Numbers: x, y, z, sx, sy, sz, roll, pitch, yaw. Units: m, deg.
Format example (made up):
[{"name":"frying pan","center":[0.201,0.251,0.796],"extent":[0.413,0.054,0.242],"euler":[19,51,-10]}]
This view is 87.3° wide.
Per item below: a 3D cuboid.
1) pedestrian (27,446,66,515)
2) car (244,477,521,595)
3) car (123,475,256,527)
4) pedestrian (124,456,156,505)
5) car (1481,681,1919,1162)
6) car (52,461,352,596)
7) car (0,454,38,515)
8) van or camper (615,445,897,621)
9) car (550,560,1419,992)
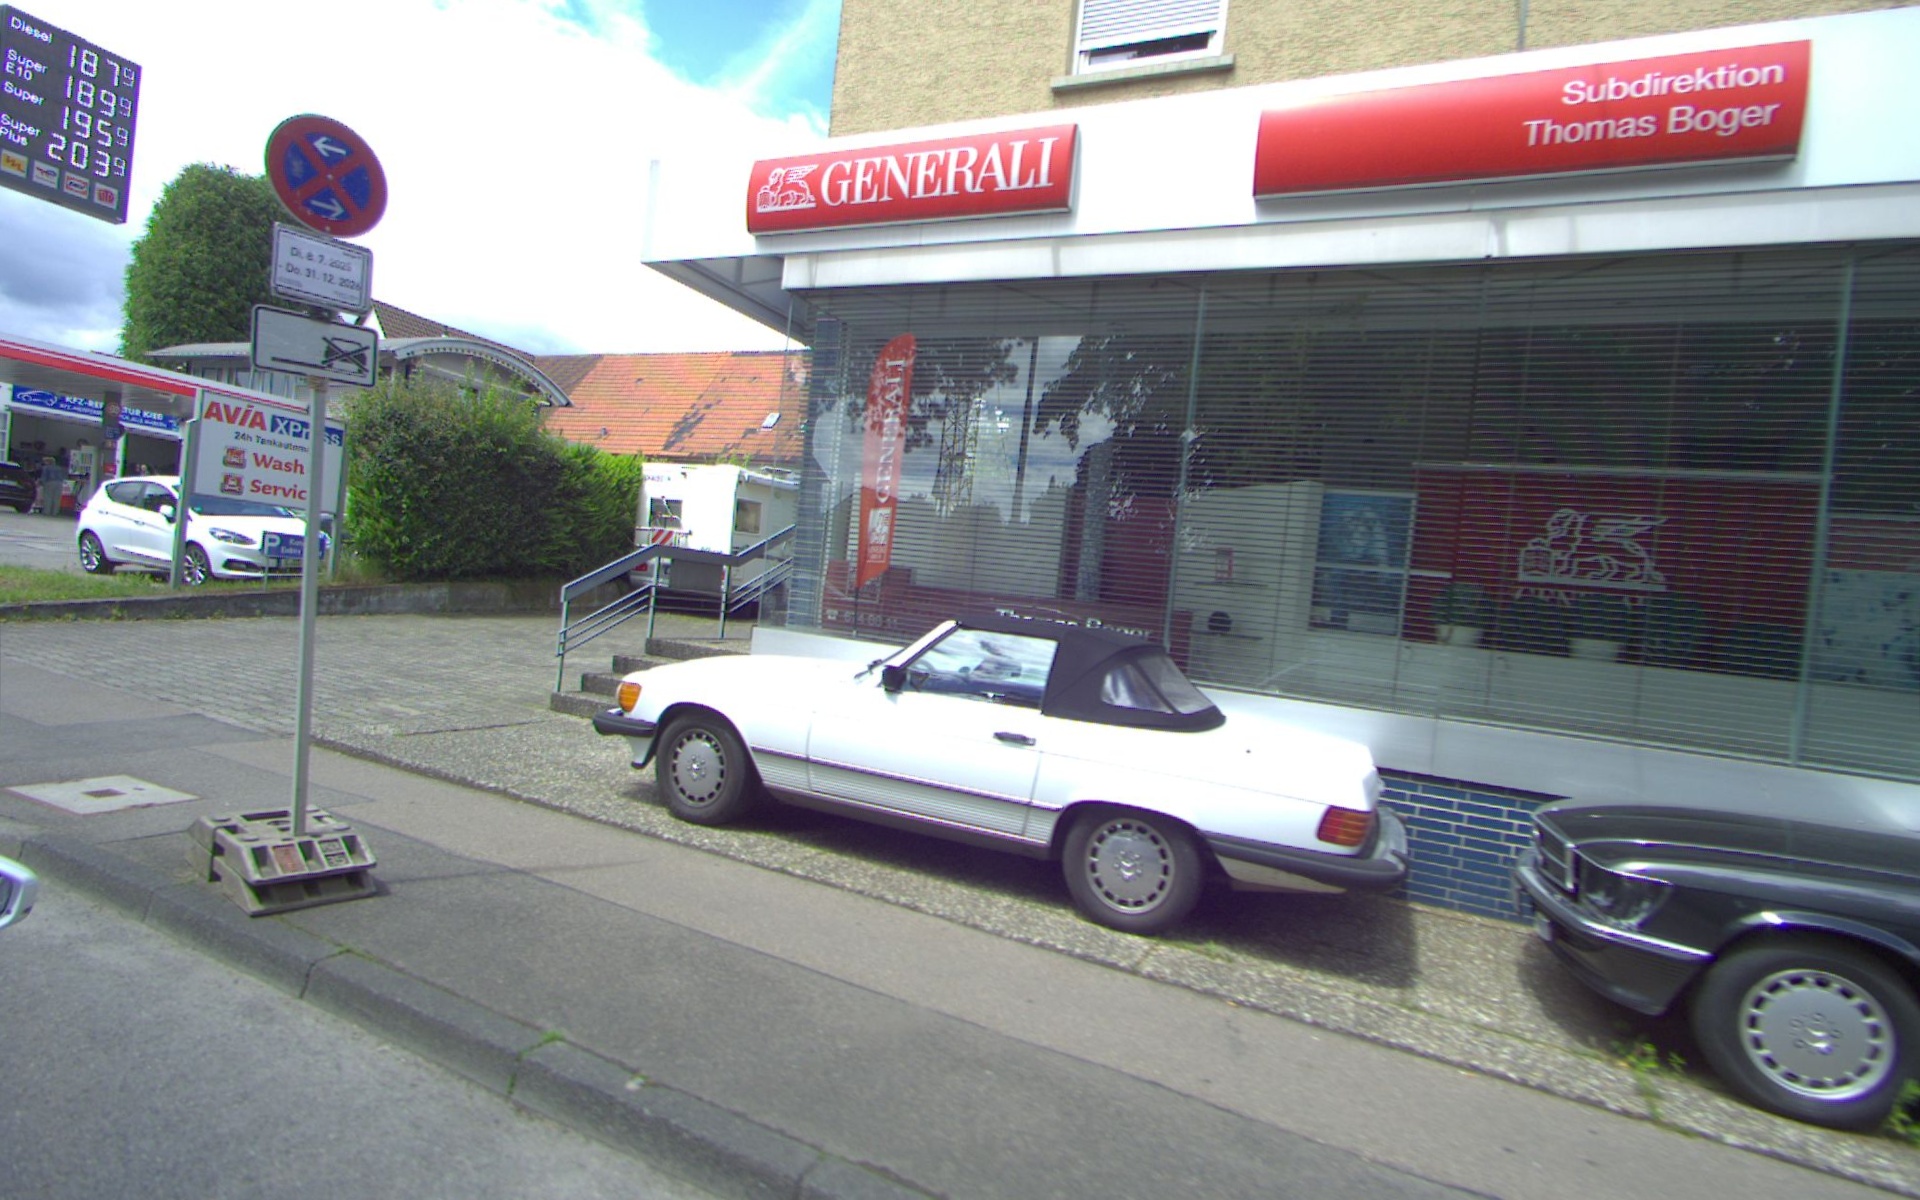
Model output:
[{"name":"pedestrian","center":[-27.380,-3.570,30.162],"extent":[0.580,1.958,0.537],"euler":[7,0,-27]},{"name":"car","center":[-9.812,-1.100,17.037],"extent":[4.573,1.564,1.713],"euler":[6,4,25]},{"name":"car","center":[-30.224,-3.865,39.551],"extent":[1.593,1.460,3.746],"euler":[12,4,28]},{"name":"pedestrian","center":[-34.198,-4.968,41.971],"extent":[0.664,1.867,0.682],"euler":[7,0,-17]},{"name":"car","center":[4.332,1.256,3.536],"extent":[4.239,1.300,1.788],"euler":[7,1,25]},{"name":"car","center":[-10.985,-1.046,14.552],"extent":[4.127,1.550,1.636],"euler":[6,4,23]},{"name":"car","center":[-29.355,-3.548,29.697],"extent":[4.491,1.628,1.633],"euler":[6,0,28]},{"name":"van or camper","center":[-3.845,-1.272,20.449],"extent":[2.485,2.891,5.964],"euler":[7,4,23]},{"name":"car","center":[0.078,0.700,5.684],"extent":[4.400,1.333,1.789],"euler":[7,1,23]}]
